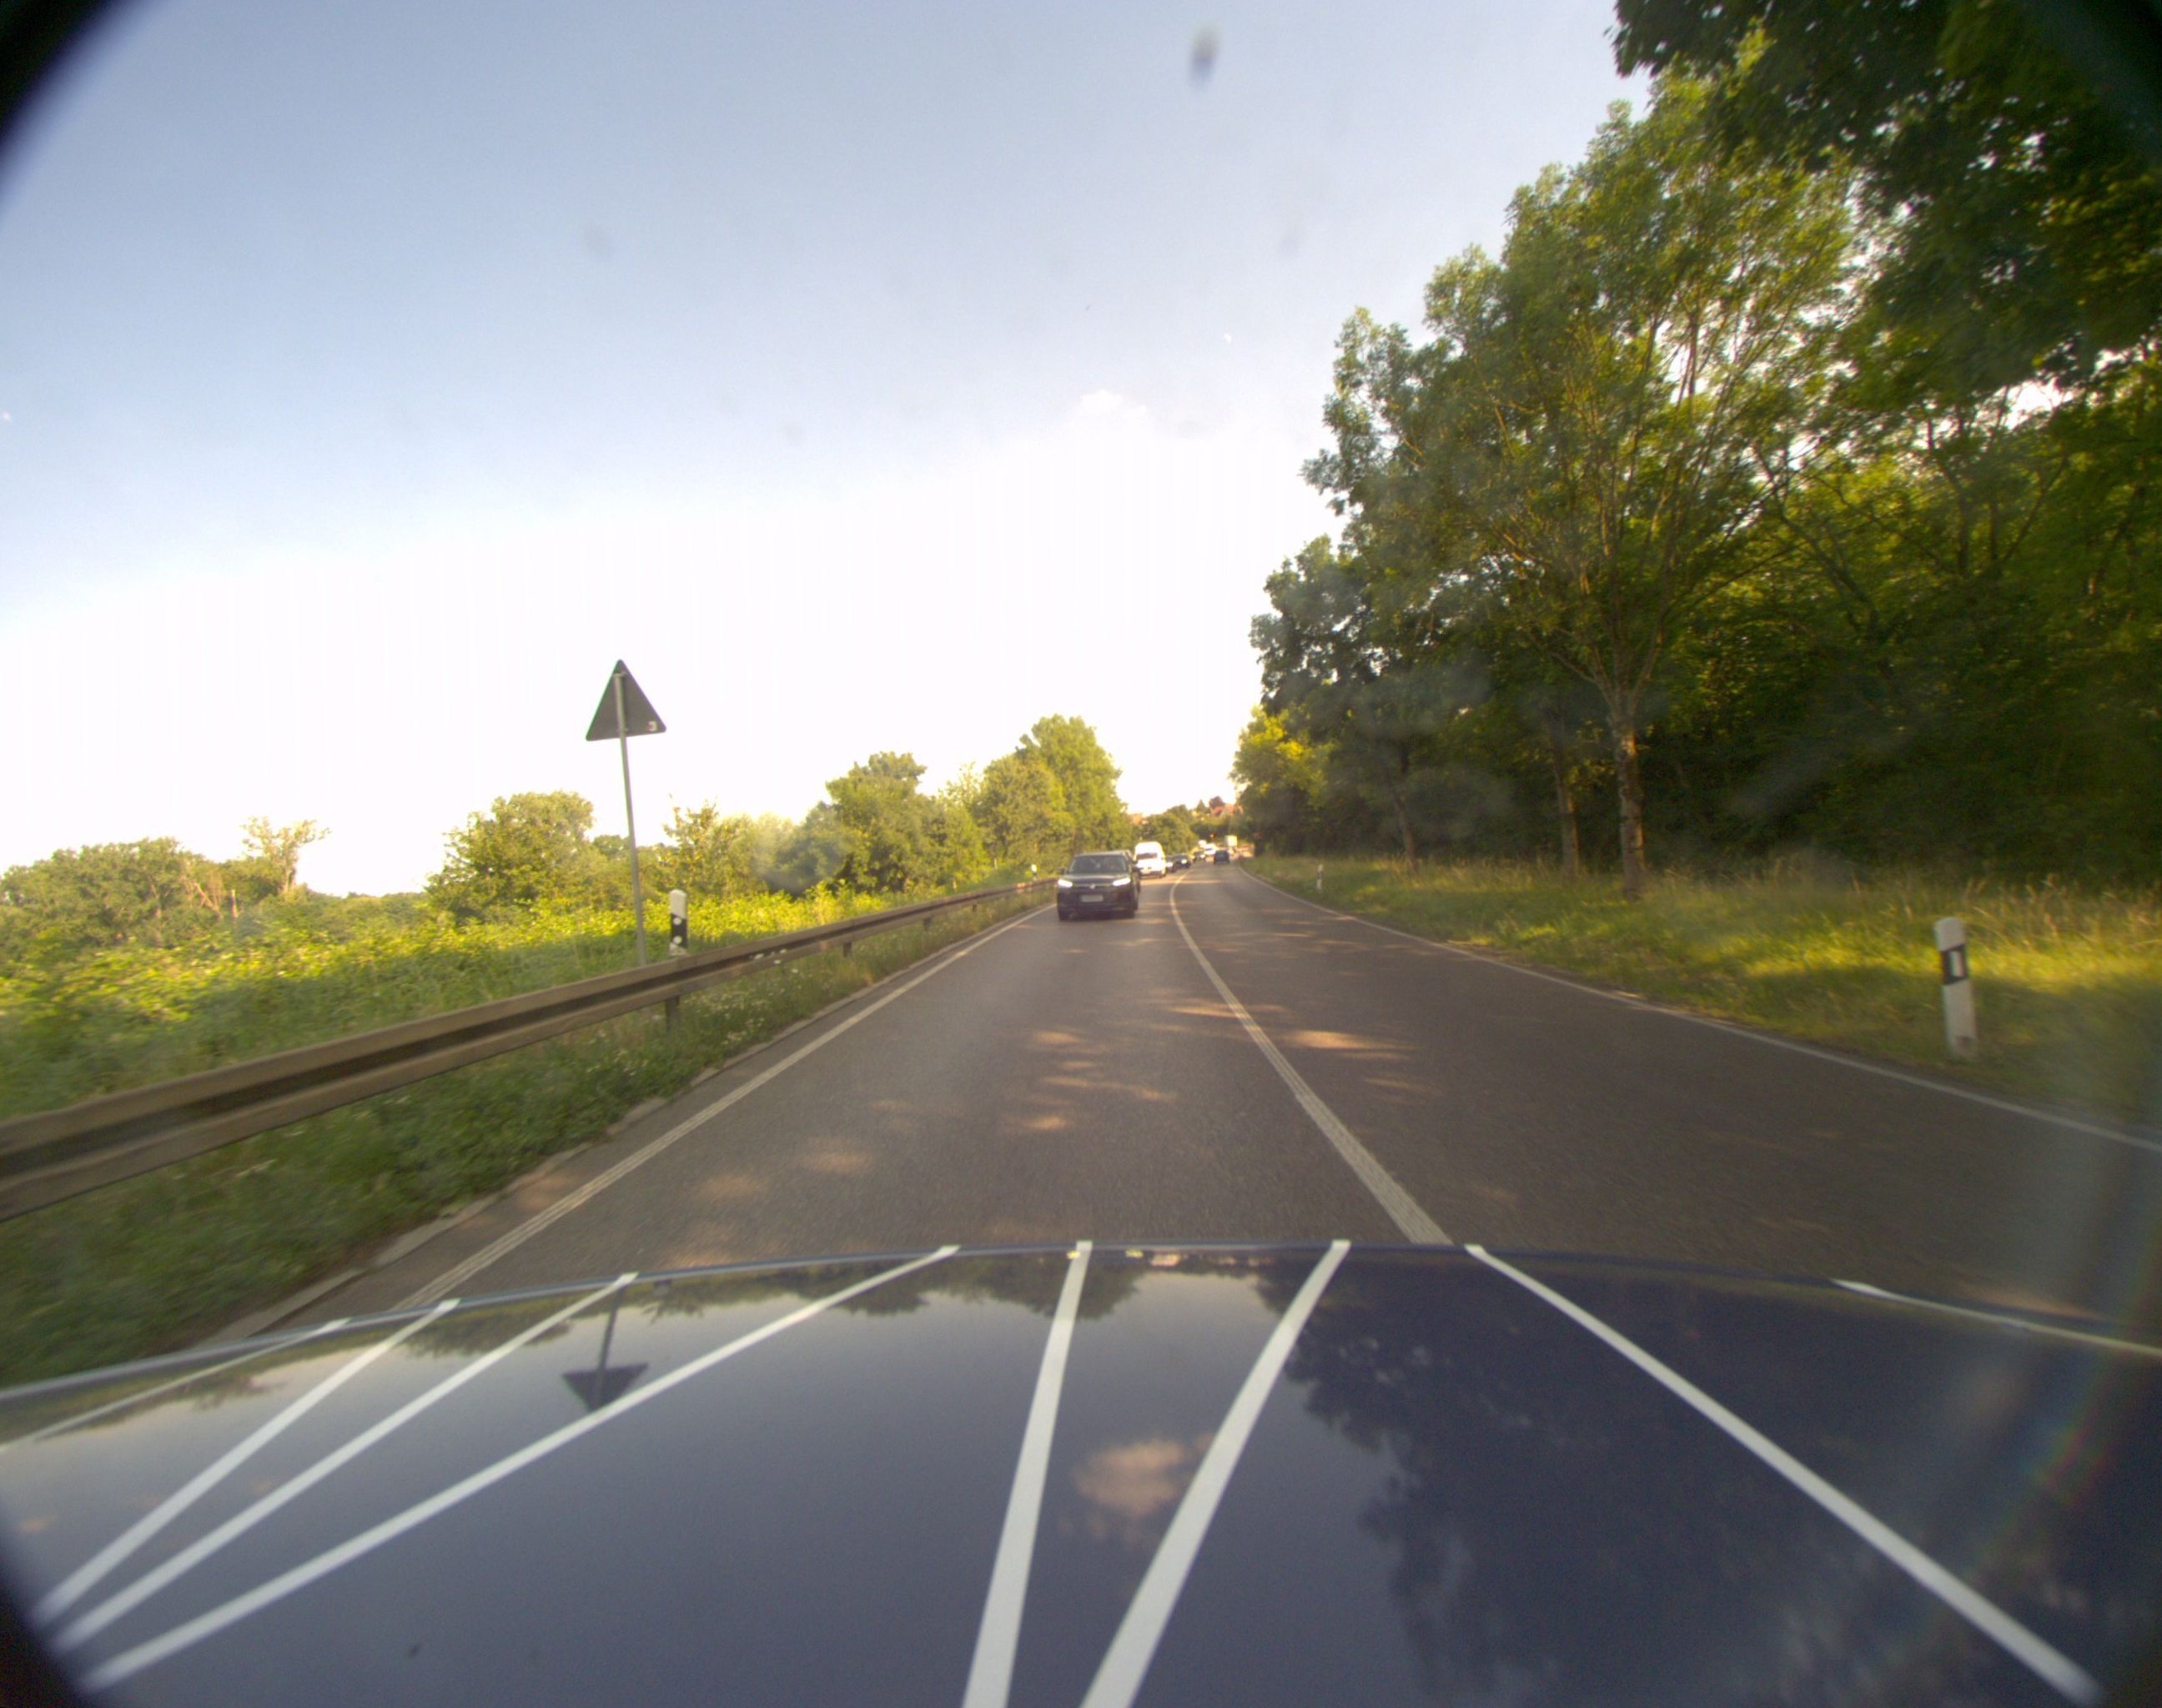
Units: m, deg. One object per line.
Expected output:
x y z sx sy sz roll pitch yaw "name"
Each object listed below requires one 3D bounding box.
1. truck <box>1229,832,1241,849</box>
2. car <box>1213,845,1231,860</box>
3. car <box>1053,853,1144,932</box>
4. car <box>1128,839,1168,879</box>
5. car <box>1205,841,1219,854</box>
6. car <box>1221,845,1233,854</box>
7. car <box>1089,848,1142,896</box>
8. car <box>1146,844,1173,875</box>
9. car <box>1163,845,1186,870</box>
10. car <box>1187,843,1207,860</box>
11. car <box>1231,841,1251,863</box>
47.568 -4.156 234.654 3.628 5.140 10.469 -2 0 12 "truck"
16.200 -0.177 87.417 1.900 1.622 4.254 -2 1 10 "car"
0.536 0.829 18.868 1.922 1.612 4.702 -2 1 4 "car"
4.411 0.276 49.329 2.087 2.403 5.145 -2 1 10 "car"
26.465 -1.350 153.081 2.086 2.403 5.148 -2 1 16 "car"
26.742 -0.829 139.057 1.893 1.622 4.254 -2 1 13 "car"
1.441 0.692 30.777 1.922 1.718 4.703 -2 0 4 "car"
6.437 0.395 62.895 2.087 2.403 5.143 -2 1 5 "car"
9.417 0.338 76.999 2.087 2.403 5.143 -2 1 5 "car"
16.960 -0.356 110.973 2.086 2.403 5.148 -2 1 16 "car"
18.977 -0.276 90.465 2.087 2.403 5.145 -2 1 10 "car"
